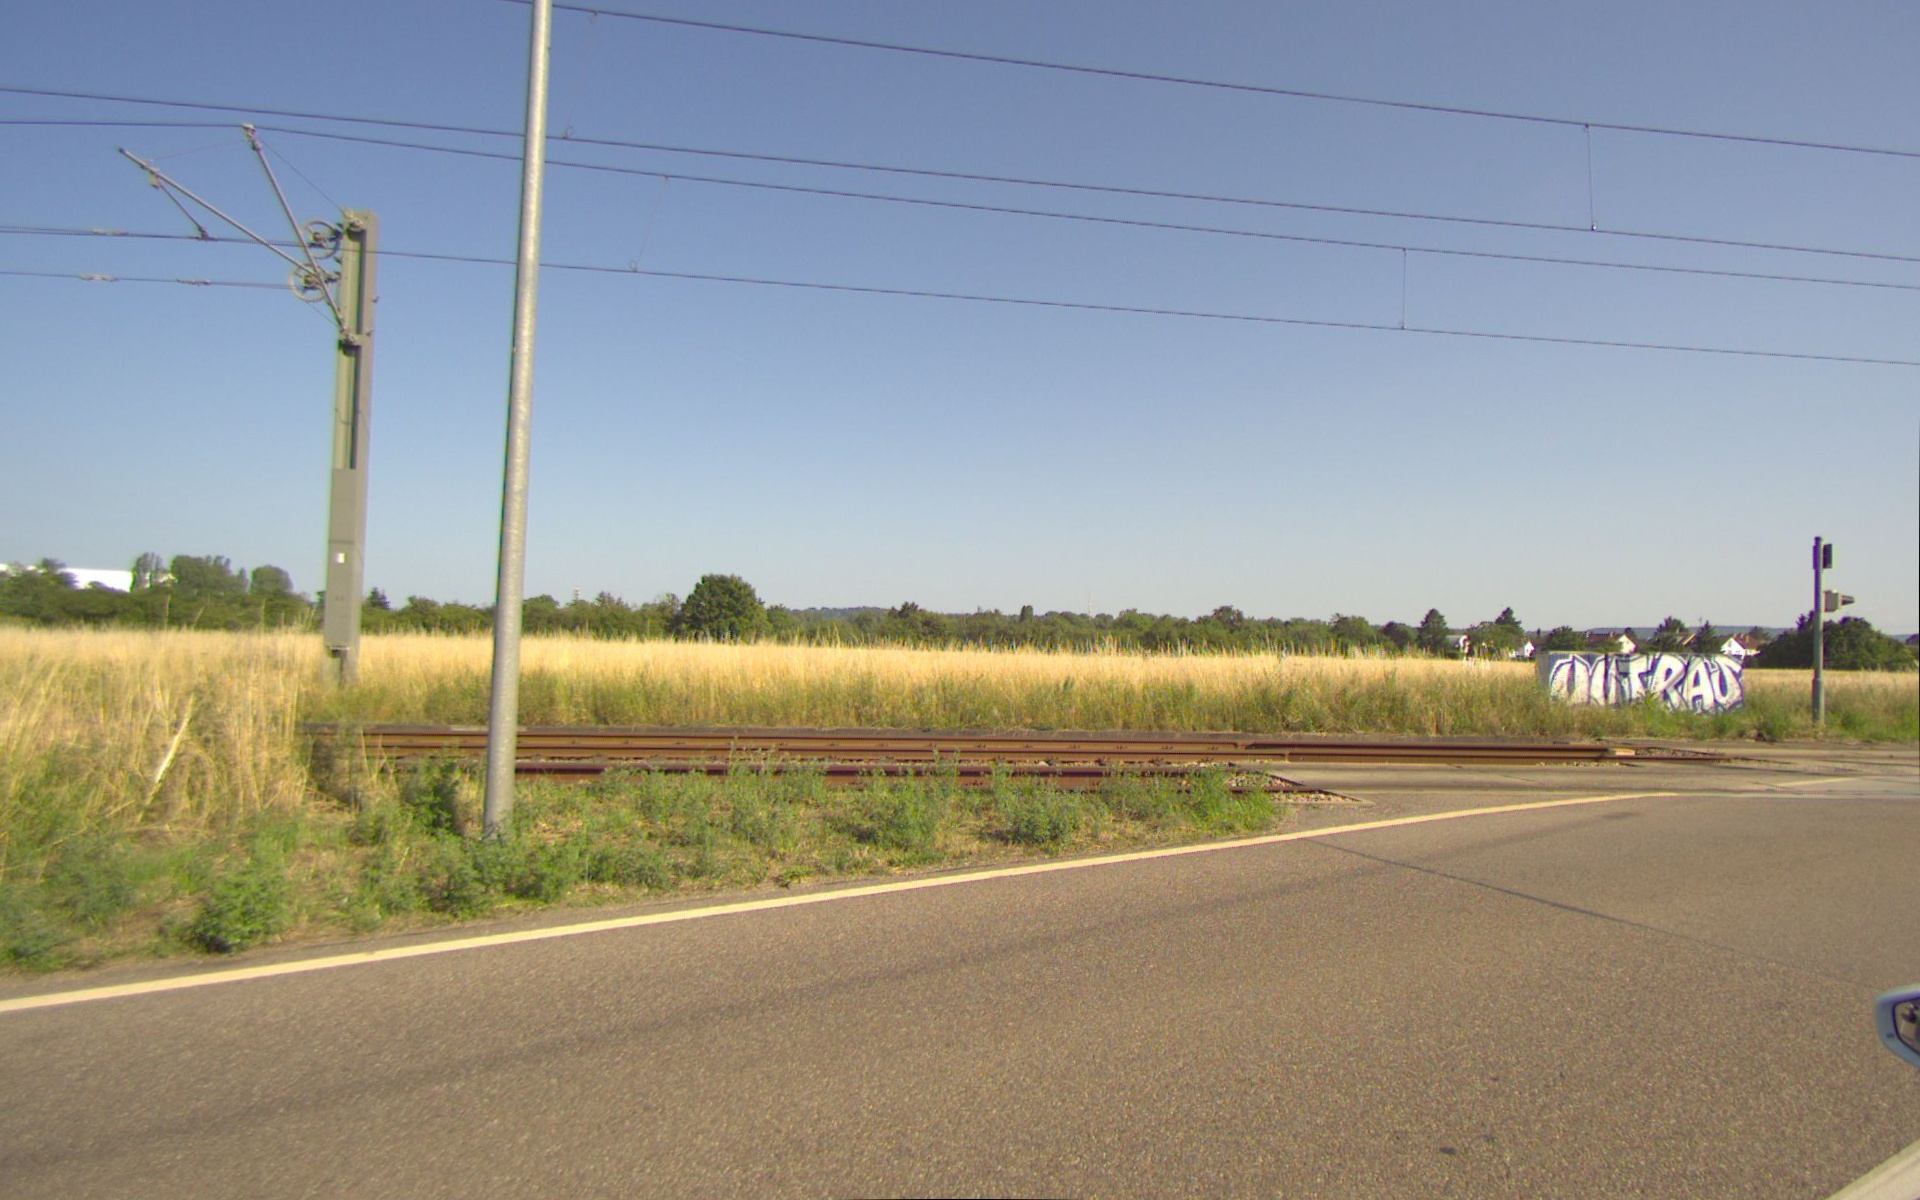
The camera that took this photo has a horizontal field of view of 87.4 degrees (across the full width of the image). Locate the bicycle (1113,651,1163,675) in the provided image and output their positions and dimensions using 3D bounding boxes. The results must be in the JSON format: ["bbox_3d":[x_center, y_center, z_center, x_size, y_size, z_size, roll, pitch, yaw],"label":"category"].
[{"bbox_3d":[6.570,2.324,37.095,1.704,0.850,0.614,2,-2,-9],"label":"bicycle"}]

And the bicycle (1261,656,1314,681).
[{"bbox_3d":[12.034,2.517,36.905,1.704,0.850,0.751,2,-2,-9],"label":"bicycle"}]

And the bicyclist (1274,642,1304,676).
[{"bbox_3d":[12.094,2.154,36.928,0.775,1.221,0.747,2,-2,-9],"label":"bicyclist"}]

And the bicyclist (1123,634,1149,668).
[{"bbox_3d":[6.497,1.865,37.087,0.775,1.221,0.603,2,-2,-9],"label":"bicyclist"}]
